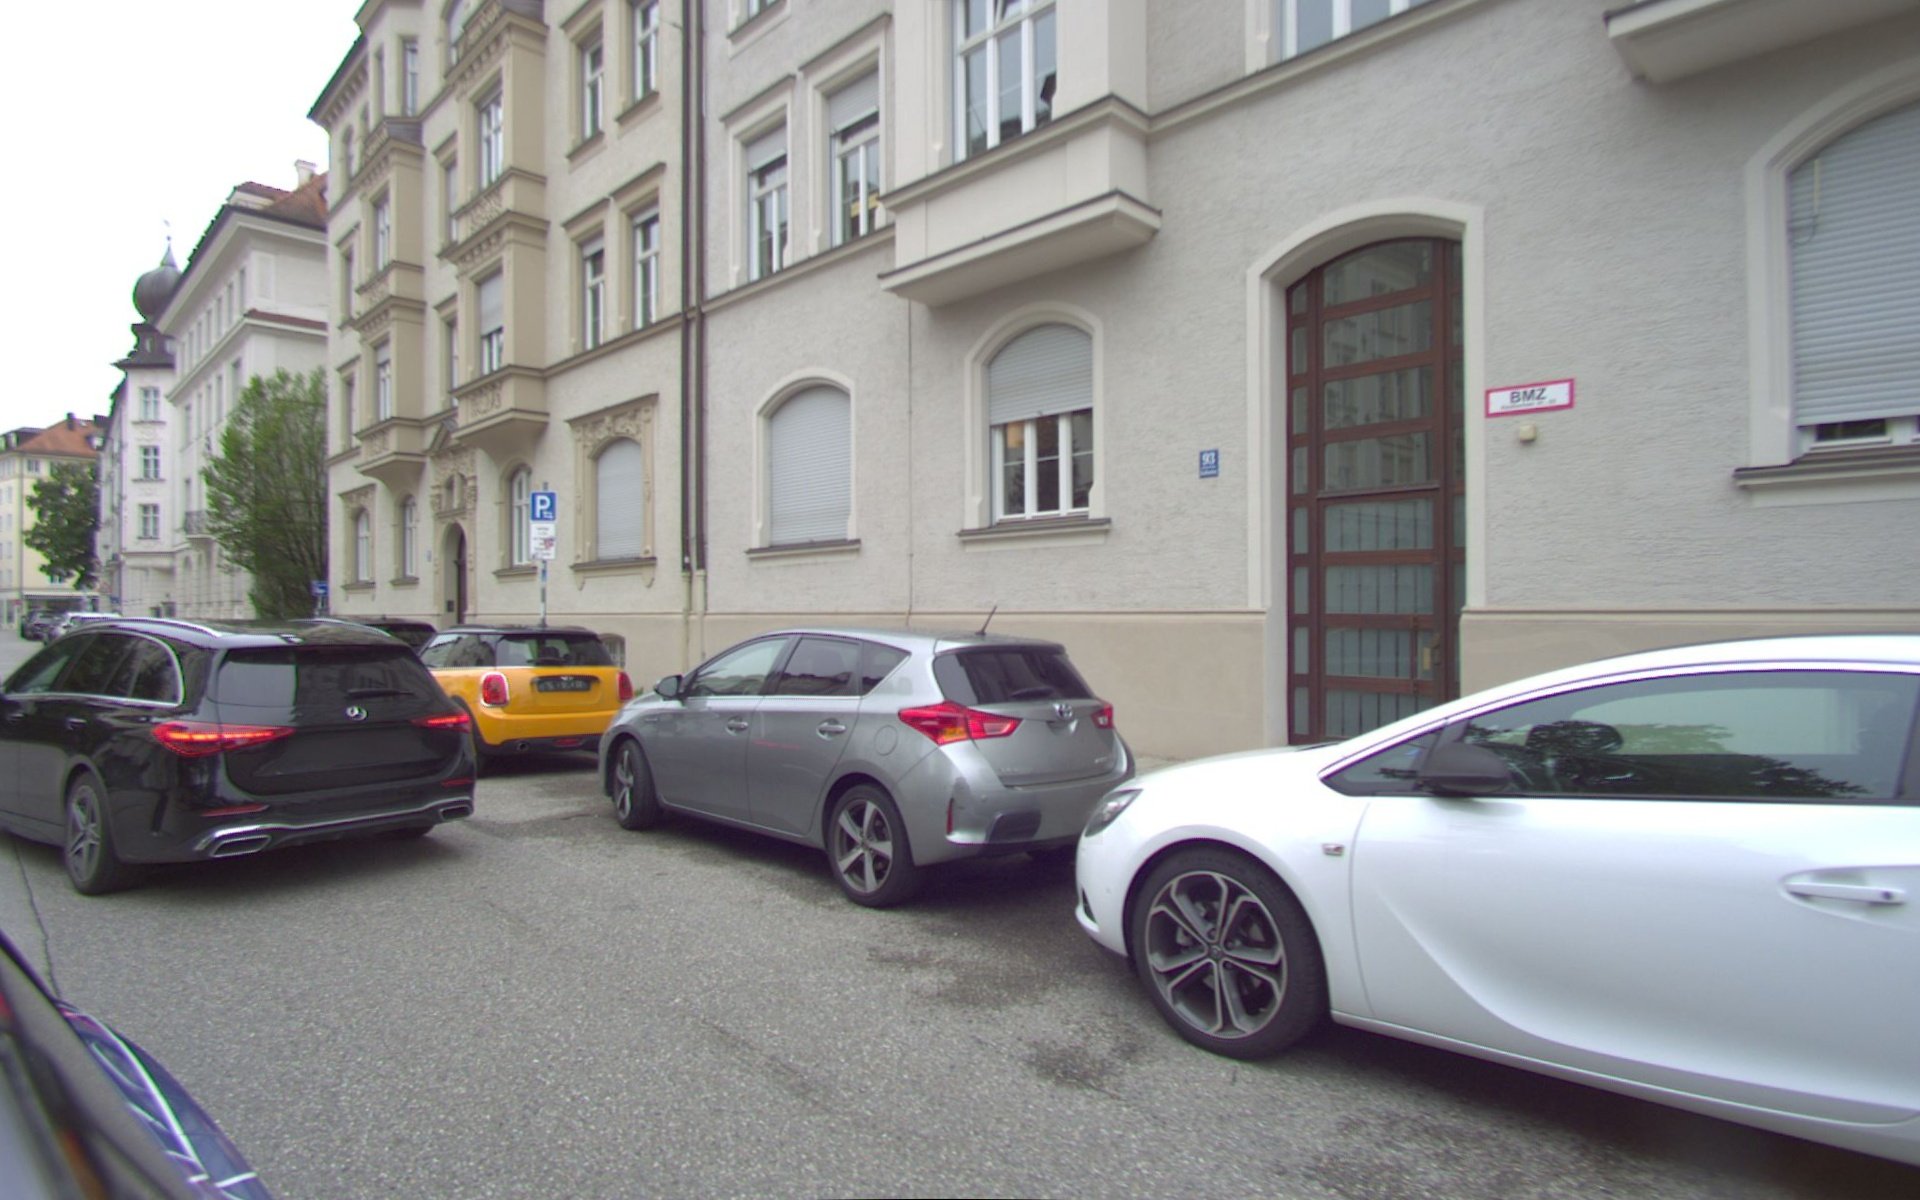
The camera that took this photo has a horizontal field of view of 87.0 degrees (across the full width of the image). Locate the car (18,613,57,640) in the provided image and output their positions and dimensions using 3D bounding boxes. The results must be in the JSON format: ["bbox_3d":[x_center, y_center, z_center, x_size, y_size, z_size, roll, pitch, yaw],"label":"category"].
[{"bbox_3d":[-60.470,1.736,66.294,3.921,1.734,1.605,-1,-2,44],"label":"car"}]

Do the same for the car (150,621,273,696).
[{"bbox_3d":[-15.843,1.175,21.355,1.604,1.440,3.591,2,-2,-44],"label":"car"}]

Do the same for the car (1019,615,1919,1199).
[{"bbox_3d":[2.454,0.798,3.155,4.378,1.474,1.836,-1,-2,43],"label":"car"}]

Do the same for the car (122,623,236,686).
[{"bbox_3d":[-19.416,1.295,25.118,3.689,1.440,1.605,-1,-2,42],"label":"car"}]

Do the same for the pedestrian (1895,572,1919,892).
[{"bbox_3d":[5.473,0.664,5.128,1.052,1.620,0.864,-1,-1,43],"label":"pedestrian"}]

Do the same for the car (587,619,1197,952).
[{"bbox_3d":[-0.658,0.873,6.544,3.939,1.474,1.785,-1,-2,45],"label":"car"}]

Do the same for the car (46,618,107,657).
[{"bbox_3d":[-37.450,1.564,42.858,3.921,1.542,1.605,-1,-2,44],"label":"car"}]

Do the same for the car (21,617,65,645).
[{"bbox_3d":[-52.433,1.773,57.841,3.921,1.542,1.605,-1,-2,44],"label":"car"}]

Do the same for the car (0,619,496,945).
[{"bbox_3d":[-5.101,0.839,6.482,4.569,1.424,1.773,-1,-1,34],"label":"car"}]

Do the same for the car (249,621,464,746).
[{"bbox_3d":[-8.365,1.033,13.883,1.604,1.467,3.943,2,-2,-45],"label":"car"}]

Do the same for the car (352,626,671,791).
[{"bbox_3d":[-4.763,0.973,10.521,3.731,1.373,1.785,-1,-2,45],"label":"car"}]

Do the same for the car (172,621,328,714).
[{"bbox_3d":[-12.506,1.106,17.736,1.604,1.440,3.944,2,-2,-44],"label":"car"}]

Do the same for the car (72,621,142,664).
[{"bbox_3d":[-30.129,1.475,35.710,1.604,1.440,3.692,2,-2,-44],"label":"car"}]

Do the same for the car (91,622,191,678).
[{"bbox_3d":[-22.800,1.339,28.143,3.689,1.440,1.605,-1,-2,42],"label":"car"}]

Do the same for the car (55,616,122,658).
[{"bbox_3d":[-33.611,1.414,39.000,3.690,1.542,1.605,-1,-2,44],"label":"car"}]

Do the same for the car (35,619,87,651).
[{"bbox_3d":[-44.438,1.711,50.011,3.921,1.542,1.605,-1,-2,44],"label":"car"}]
